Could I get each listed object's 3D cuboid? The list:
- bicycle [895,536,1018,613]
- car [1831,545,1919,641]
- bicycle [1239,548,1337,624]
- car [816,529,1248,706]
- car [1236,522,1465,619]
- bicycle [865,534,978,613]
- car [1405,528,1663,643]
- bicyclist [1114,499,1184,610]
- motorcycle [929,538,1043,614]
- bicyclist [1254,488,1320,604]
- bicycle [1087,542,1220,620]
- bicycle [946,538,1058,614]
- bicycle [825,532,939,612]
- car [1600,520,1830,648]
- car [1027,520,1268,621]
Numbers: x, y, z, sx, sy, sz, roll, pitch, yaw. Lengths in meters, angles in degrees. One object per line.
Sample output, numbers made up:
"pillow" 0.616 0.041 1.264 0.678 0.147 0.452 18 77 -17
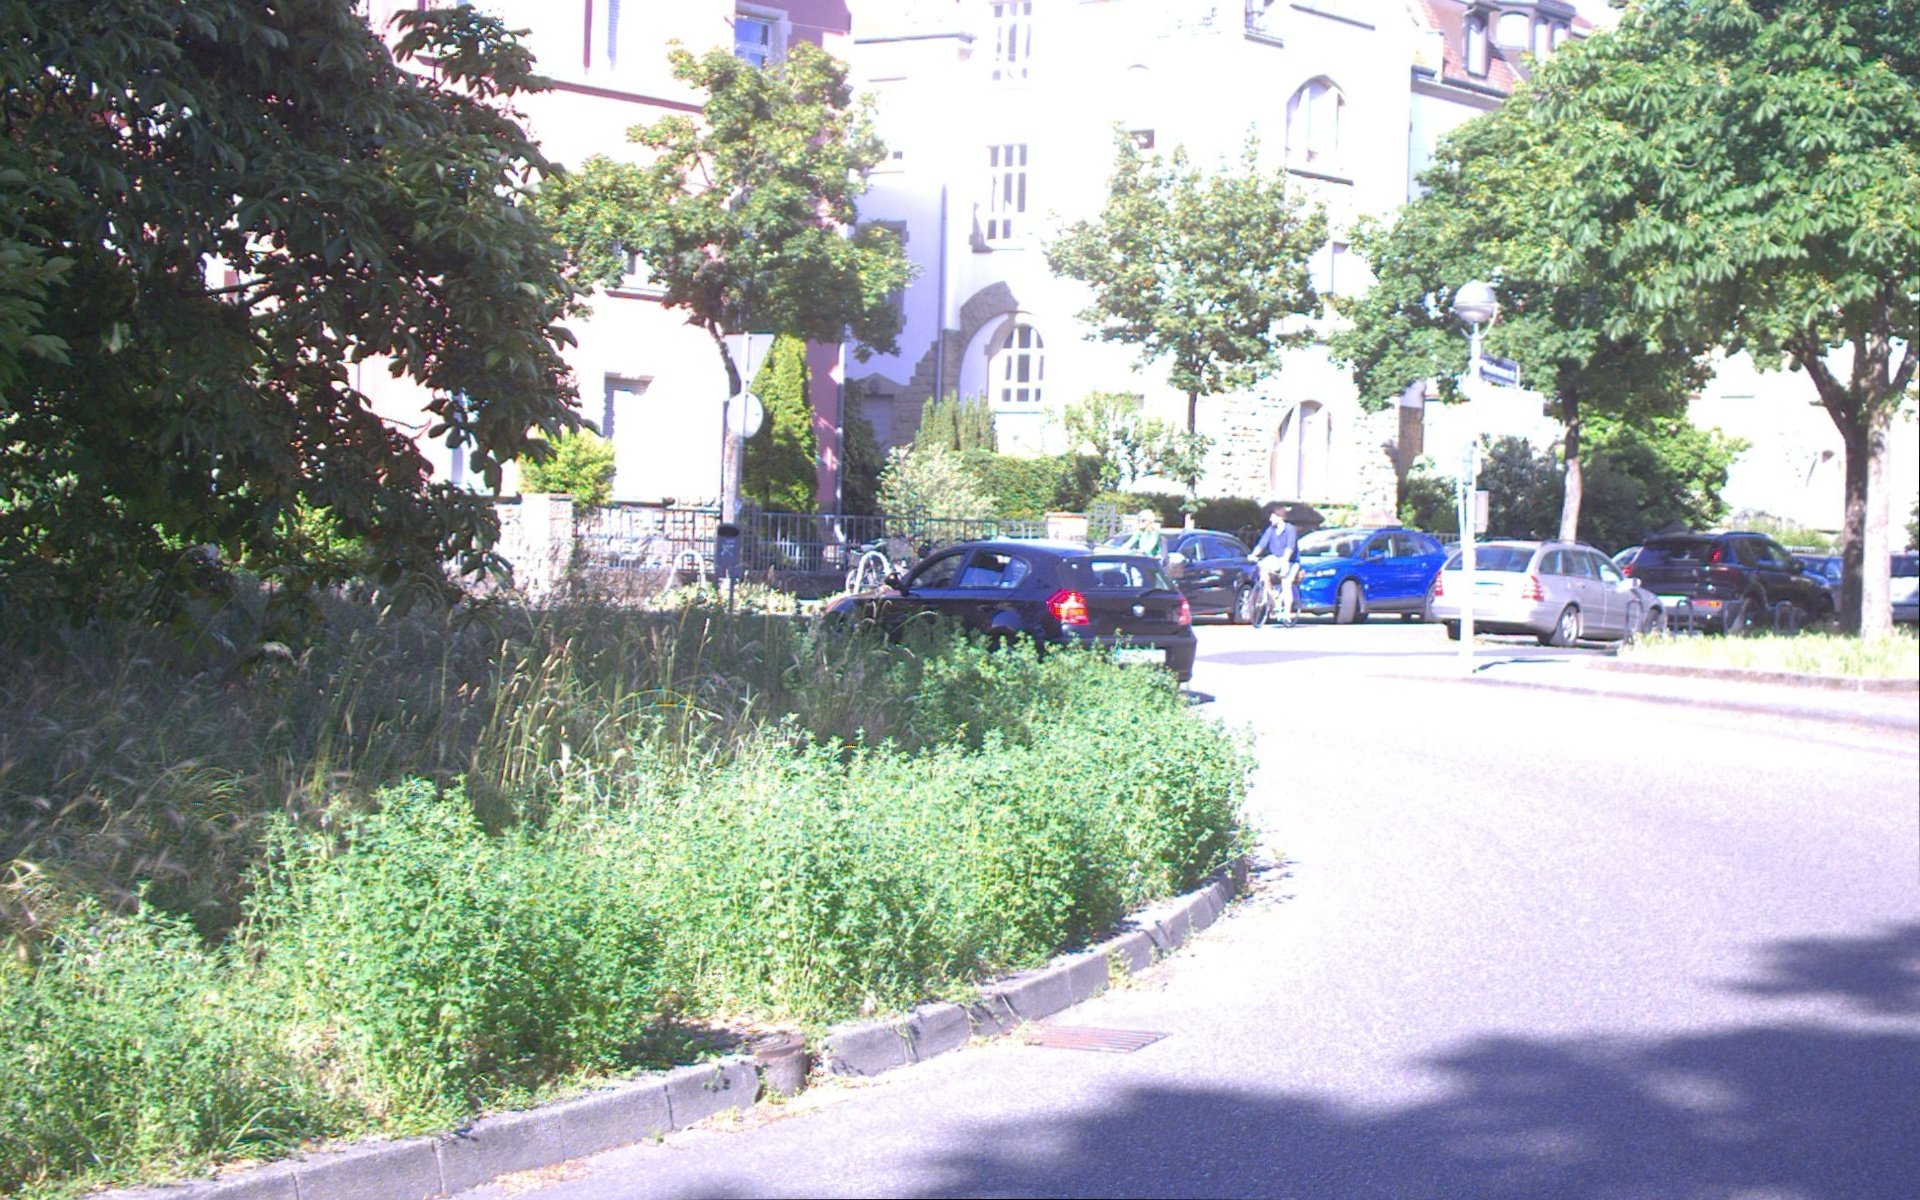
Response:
"bicycle" -0.062 -0.405 53.830 1.826 1.103 0.500 4 3 22
"car" 16.193 -0.103 56.610 1.808 1.469 4.328 4 2 40
"bicycle" 4.907 -0.206 51.386 0.645 1.104 1.713 2 1 37
"car" 0.560 0.108 30.277 1.865 1.414 4.000 0 1 -33
"car" 6.536 -0.482 57.227 1.808 1.556 4.390 0 0 37
"bicycle" -0.601 -0.410 53.273 1.725 1.111 0.545 5 3 38
"car" 7.784 -0.200 46.358 1.807 1.411 4.330 3 2 33
"bicyclist" 2.717 -0.651 49.404 0.801 1.575 0.596 1 1 -22
"motorcycle" 0.407 -0.385 54.428 1.724 1.103 0.500 4 3 31
"bicyclist" 4.883 -0.810 51.326 0.645 1.708 0.721 2 1 37
"bicycle" 2.779 -0.271 49.337 1.857 1.104 0.596 0 1 -28
"bicycle" 0.662 -0.393 55.080 1.724 1.103 0.500 4 3 31
"bicycle" -1.197 -0.429 52.547 1.725 1.111 0.545 5 3 38
"car" 11.064 -0.239 50.169 1.807 1.722 4.330 3 2 33
"car" 2.920 -0.437 52.742 1.807 1.478 4.331 0 0 32
